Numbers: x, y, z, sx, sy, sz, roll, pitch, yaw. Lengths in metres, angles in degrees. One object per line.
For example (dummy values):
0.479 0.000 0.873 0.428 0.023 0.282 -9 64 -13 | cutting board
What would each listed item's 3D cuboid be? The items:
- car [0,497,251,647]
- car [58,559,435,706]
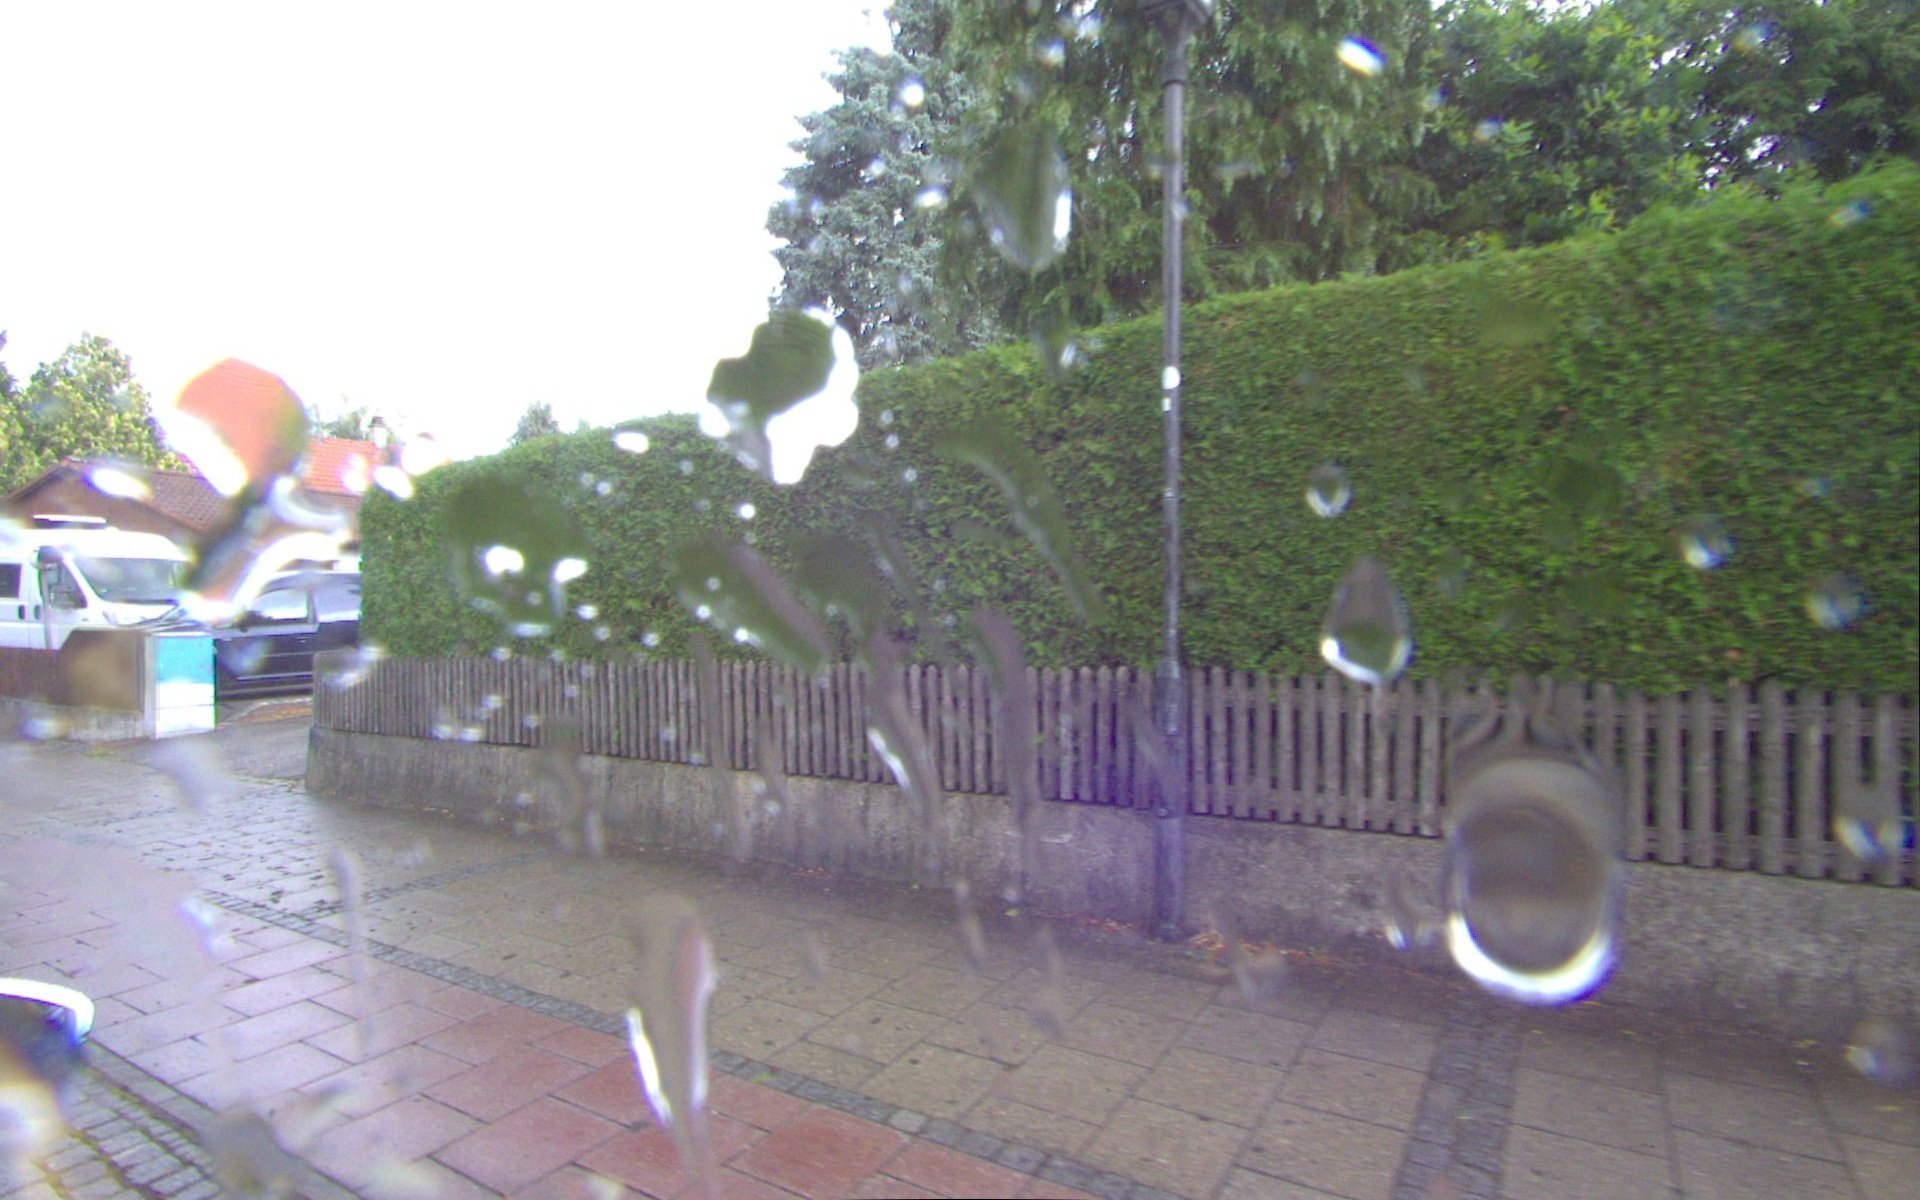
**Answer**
-14.423 -0.334 16.495 4.865 2.201 1.997 -1 -2 19 | car
-9.944 0.386 14.316 1.668 1.775 4.089 2 1 28 | car
